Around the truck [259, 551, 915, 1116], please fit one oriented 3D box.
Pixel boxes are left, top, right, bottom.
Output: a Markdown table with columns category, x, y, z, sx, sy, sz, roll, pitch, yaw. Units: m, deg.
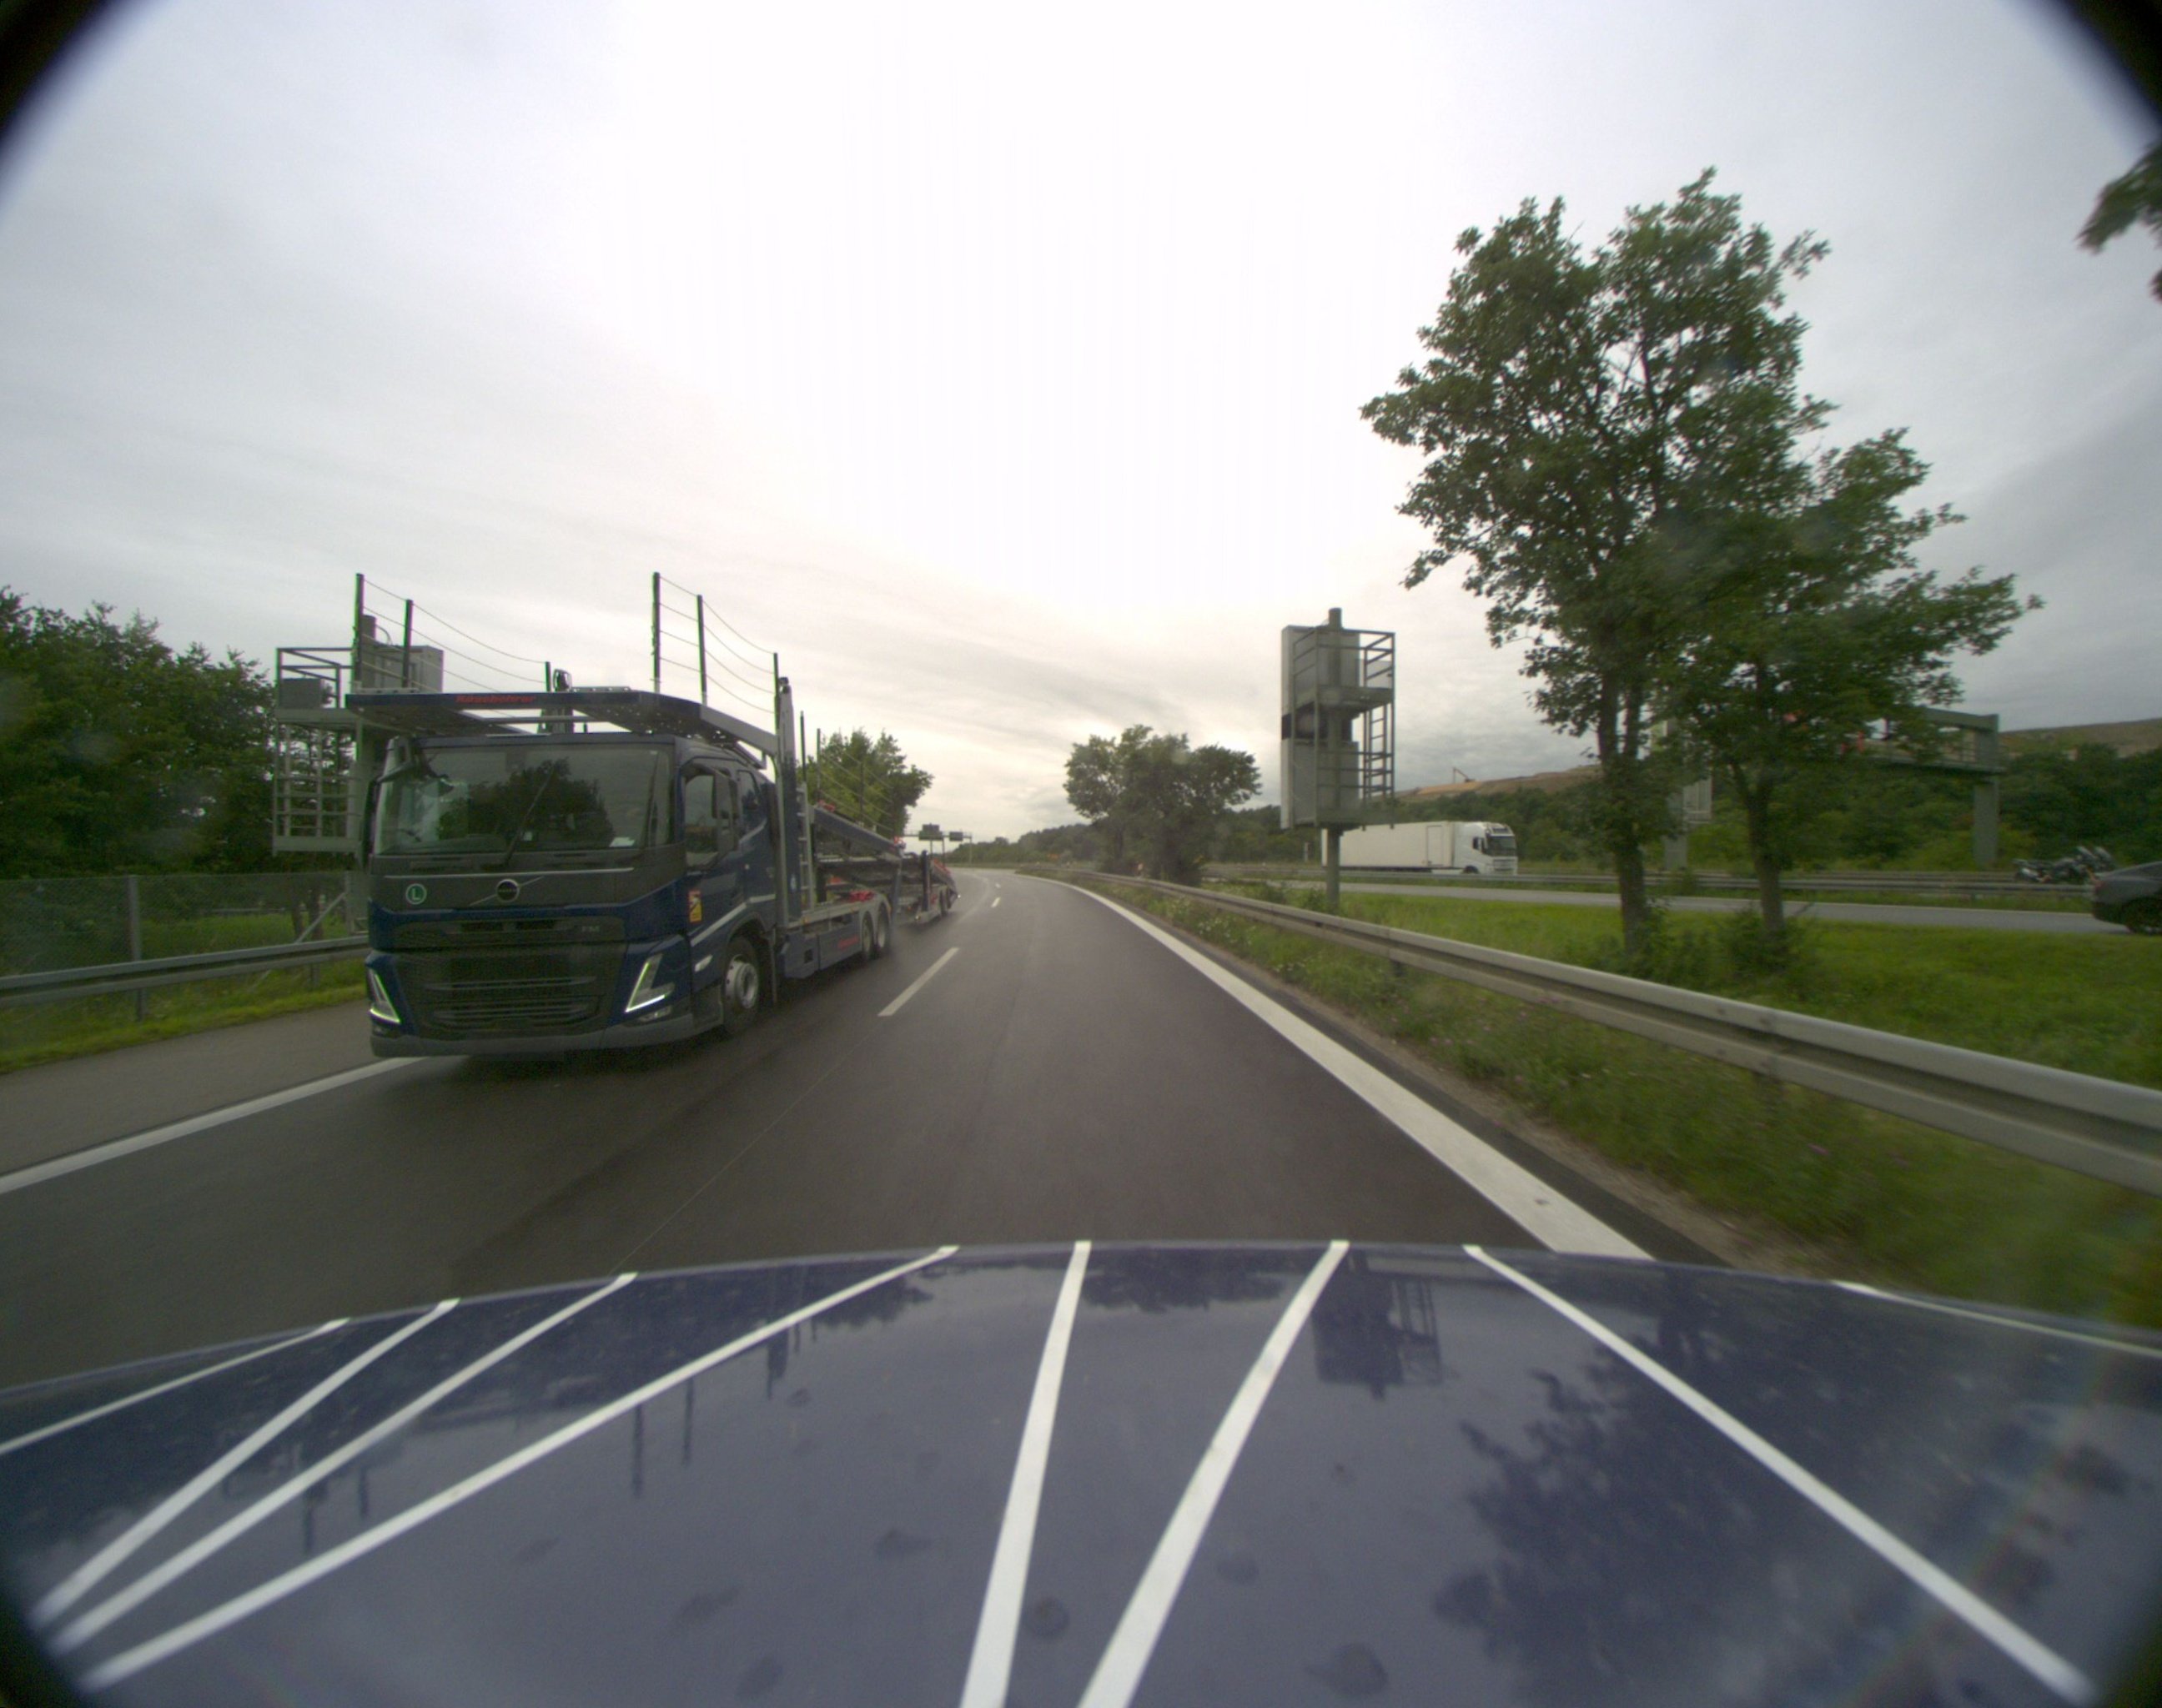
| category | x | y | z | sx | sy | sz | roll | pitch | yaw |
| --- | --- | --- | --- | --- | --- | --- | --- | --- | --- |
| truck | -4.543 | -0.131 | 10.048 | 2.746 | 3.944 | 9.127 | -3 | 0 | -2 |

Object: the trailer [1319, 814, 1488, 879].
| category | x | y | z | sx | sy | sz | roll | pitch | yaw |
| --- | --- | --- | --- | --- | --- | --- | --- | --- | --- |
| trailer | 22.818 | -0.481 | 55.328 | 2.777 | 4.111 | 13.929 | -1 | 0 | -19 |

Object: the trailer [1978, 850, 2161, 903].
| category | x | y | z | sx | sy | sz | roll | pitch | yaw |
| --- | --- | --- | --- | --- | --- | --- | --- | --- | --- |
| trailer | 33.448 | 0.688 | 25.670 | 1.890 | 1.617 | 3.605 | -1 | 1 | -18 |

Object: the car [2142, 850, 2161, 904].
| category | x | y | z | sx | sy | sz | roll | pitch | yaw |
| --- | --- | --- | --- | --- | --- | --- | --- | --- | --- |
| car | 34.761 | 0.710 | 21.724 | 1.890 | 1.617 | 4.799 | -1 | 1 | -18 |

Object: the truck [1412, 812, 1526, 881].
| category | x | y | z | sx | sy | sz | roll | pitch | yaw |
| --- | --- | --- | --- | --- | --- | --- | --- | --- | --- |
| truck | 24.880 | -0.447 | 49.152 | 2.777 | 4.111 | 6.435 | -1 | 0 | -19 |

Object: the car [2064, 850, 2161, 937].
| category | x | y | z | sx | sy | sz | roll | pitch | yaw |
| --- | --- | --- | --- | --- | --- | --- | --- | --- | --- |
| car | 21.816 | 0.748 | 13.742 | 1.969 | 1.628 | 4.546 | -1 | 1 | -18 |

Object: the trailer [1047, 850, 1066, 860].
| category | x | y | z | sx | sy | sz | roll | pitch | yaw |
| --- | --- | --- | --- | --- | --- | --- | --- | --- | --- |
| trailer | -7.781 | 0.231 | 238.217 | 2.696 | 3.056 | 12.546 | -1 | 1 | -18 |

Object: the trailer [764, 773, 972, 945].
| category | x | y | z | sx | sy | sz | roll | pitch | yaw |
| --- | --- | --- | --- | --- | --- | --- | --- | --- | --- |
| trailer | -4.857 | 0.100 | 19.902 | 2.785 | 3.265 | 10.404 | -1 | 0 | -2 |
